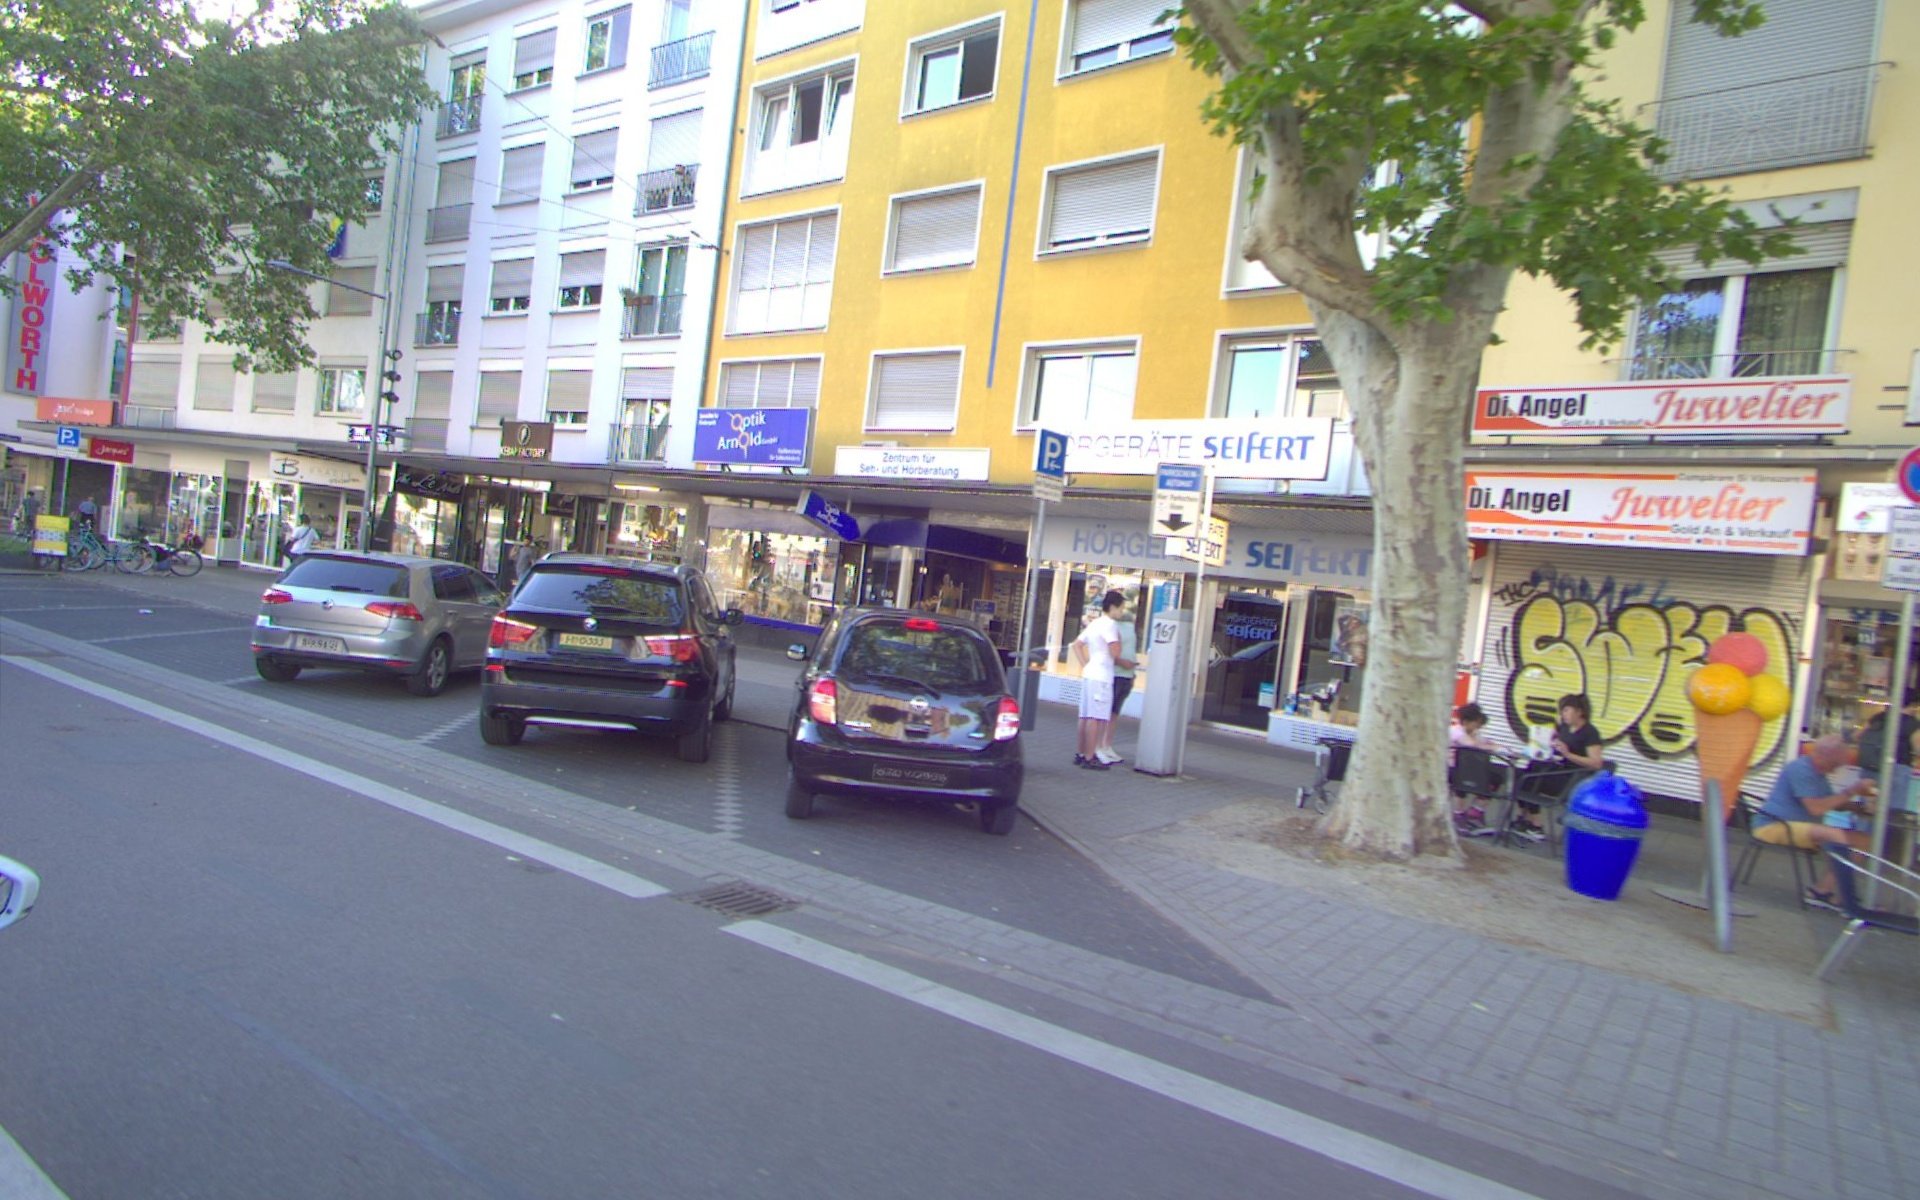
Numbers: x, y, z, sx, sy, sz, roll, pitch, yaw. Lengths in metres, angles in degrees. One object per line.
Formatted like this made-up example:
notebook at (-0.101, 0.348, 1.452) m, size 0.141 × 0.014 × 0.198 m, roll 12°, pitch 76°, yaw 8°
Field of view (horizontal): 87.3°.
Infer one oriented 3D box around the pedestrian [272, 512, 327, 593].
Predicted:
pedestrian at (-16.581, -1.177, 25.244) m, size 0.809 × 1.900 × 0.645 m, roll 6°, pitch 1°, yaw 19°

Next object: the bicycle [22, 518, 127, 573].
bicycle at (-21.642, -1.307, 24.620) m, size 0.660 × 1.205 × 1.788 m, roll 6°, pitch 2°, yaw 24°

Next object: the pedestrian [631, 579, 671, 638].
pedestrian at (-6.584, 0.183, 21.411) m, size 0.615 × 1.171 × 0.418 m, roll 7°, pitch 1°, yaw 35°

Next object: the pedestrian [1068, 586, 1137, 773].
pedestrian at (1.468, 0.811, 10.442) m, size 0.466 × 1.855 × 0.517 m, roll 6°, pitch 1°, yaw 2°

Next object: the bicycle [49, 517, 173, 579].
bicycle at (-20.295, -1.227, 24.080) m, size 0.818 × 1.248 × 2.079 m, roll 7°, pitch 1°, yaw 37°

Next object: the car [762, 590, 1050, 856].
car at (-0.588, 0.797, 8.253) m, size 1.712 × 1.559 × 3.603 m, roll 6°, pitch 0°, yaw -8°

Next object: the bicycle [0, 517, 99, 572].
bicycle at (-22.623, -1.360, 24.921) m, size 0.701 × 1.205 × 1.872 m, roll 7°, pitch 3°, yaw 40°

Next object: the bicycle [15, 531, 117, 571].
bicycle at (-23.128, -1.270, 26.052) m, size 0.701 × 0.775 × 1.874 m, roll 8°, pitch 0°, yaw 40°

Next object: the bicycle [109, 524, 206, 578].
bicycle at (-20.055, -1.211, 25.169) m, size 0.668 × 1.169 × 1.761 m, roll 7°, pitch 2°, yaw 40°

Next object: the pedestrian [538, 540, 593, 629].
pedestrian at (-8.347, -0.328, 21.284) m, size 0.776 × 1.816 × 0.705 m, roll 7°, pitch 4°, yaw 38°

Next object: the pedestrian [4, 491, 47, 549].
pedestrian at (-31.459, -2.696, 33.866) m, size 0.751 × 1.816 × 0.781 m, roll 7°, pitch 1°, yaw 32°

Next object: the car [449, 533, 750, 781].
car at (-3.145, 0.433, 9.678) m, size 1.778 × 1.702 × 4.145 m, roll 6°, pitch 0°, yaw -8°

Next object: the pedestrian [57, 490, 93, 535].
pedestrian at (-37.051, -3.654, 42.135) m, size 0.820 × 1.700 × 0.749 m, roll 9°, pitch 2°, yaw 26°

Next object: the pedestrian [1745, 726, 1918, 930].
pedestrian at (6.182, 1.581, 7.183) m, size 0.733 × 1.240 × 0.606 m, roll 7°, pitch 0°, yaw 32°

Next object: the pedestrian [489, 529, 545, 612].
pedestrian at (-10.695, -0.698, 24.319) m, size 0.723 × 1.900 × 0.913 m, roll 6°, pitch 1°, yaw 3°

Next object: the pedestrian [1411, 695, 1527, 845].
pedestrian at (4.402, 1.441, 8.693) m, size 0.738 × 1.128 × 0.584 m, roll 7°, pitch -1°, yaw 32°

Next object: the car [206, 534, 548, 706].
car at (-6.480, 0.198, 11.808) m, size 1.777 × 1.469 × 4.173 m, roll 6°, pitch 0°, yaw -6°

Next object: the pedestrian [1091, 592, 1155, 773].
pedestrian at (1.752, 0.872, 10.806) m, size 0.466 × 1.855 × 0.517 m, roll 6°, pitch 1°, yaw 10°

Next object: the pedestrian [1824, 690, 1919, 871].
pedestrian at (8.725, 1.661, 9.453) m, size 0.618 × 1.567 × 0.633 m, roll 2°, pitch 3°, yaw -27°

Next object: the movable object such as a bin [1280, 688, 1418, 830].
movable object such as a bin at (3.384, 1.364, 8.844) m, size 0.824 × 1.035 × 0.930 m, roll 7°, pitch -1°, yaw 7°

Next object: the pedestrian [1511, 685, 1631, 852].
pedestrian at (5.337, 1.446, 8.809) m, size 0.746 × 1.290 × 0.584 m, roll 7°, pitch -1°, yaw 32°
